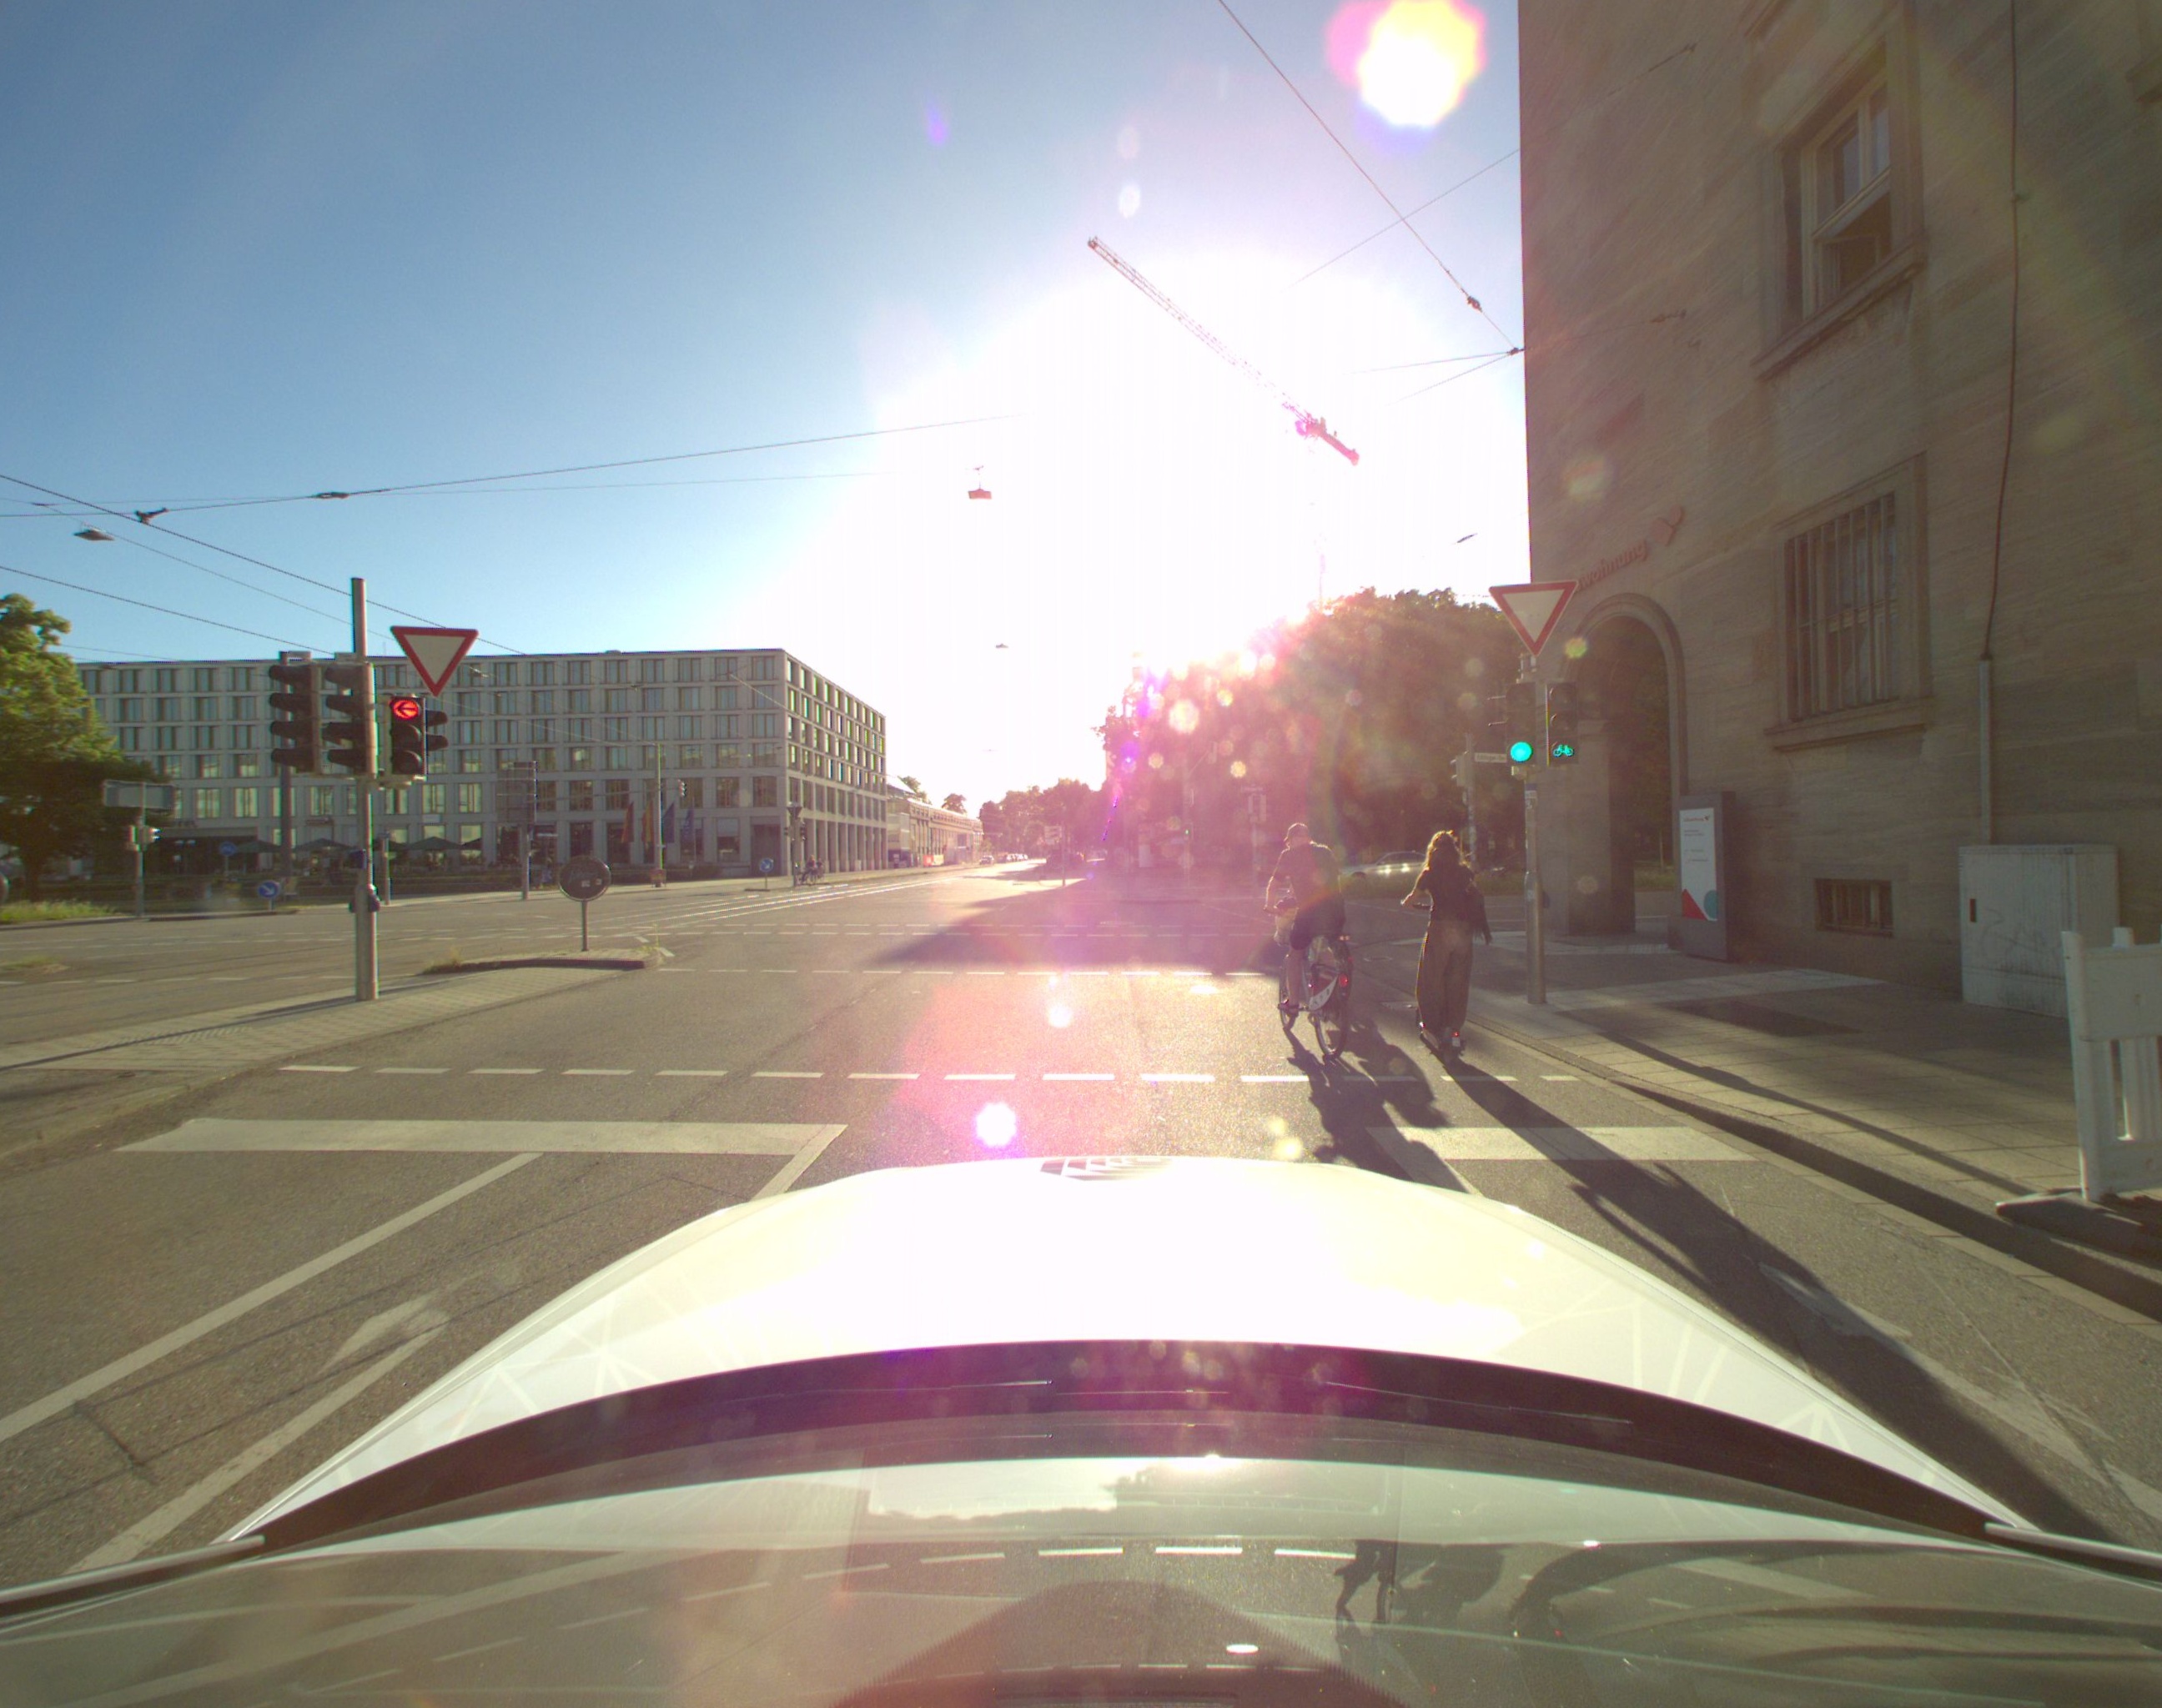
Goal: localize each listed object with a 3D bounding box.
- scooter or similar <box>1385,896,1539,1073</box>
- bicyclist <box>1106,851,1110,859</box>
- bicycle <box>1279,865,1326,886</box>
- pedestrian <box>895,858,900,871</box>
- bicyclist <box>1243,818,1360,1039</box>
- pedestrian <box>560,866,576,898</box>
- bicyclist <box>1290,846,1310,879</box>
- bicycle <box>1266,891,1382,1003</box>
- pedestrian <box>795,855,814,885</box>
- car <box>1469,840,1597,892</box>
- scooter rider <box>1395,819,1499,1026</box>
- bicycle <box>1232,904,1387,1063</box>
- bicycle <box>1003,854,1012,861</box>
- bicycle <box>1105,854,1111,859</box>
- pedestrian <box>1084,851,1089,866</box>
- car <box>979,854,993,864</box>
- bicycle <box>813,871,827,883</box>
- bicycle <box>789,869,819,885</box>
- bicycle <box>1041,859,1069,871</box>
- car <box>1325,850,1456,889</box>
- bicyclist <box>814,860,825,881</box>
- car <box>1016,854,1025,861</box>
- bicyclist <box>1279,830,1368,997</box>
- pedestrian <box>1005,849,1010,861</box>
[{"bbox_3d":[2.860,0.927,6.235,0.571,1.149,1.272,-1,-1,0],"label":"scooter or similar"},{"bbox_3d":[6.532,0.281,199.981,0.891,2.014,0.746,0,-1,-10],"label":"bicyclist"},{"bbox_3d":[9.700,0.941,35.754,1.932,0.889,0.719,-1,-1,8],"label":"bicycle"},{"bbox_3d":[-26.571,1.455,117.965,0.585,1.889,0.479,0,-1,6],"label":"pedestrian"},{"bbox_3d":[1.825,0.581,6.858,0.622,1.715,0.911,-1,0,-7],"label":"bicyclist"},{"bbox_3d":[-28.222,1.533,44.803,0.598,1.681,0.610,-2,-1,45],"label":"pedestrian"},{"bbox_3d":[9.609,0.378,35.768,0.742,1.406,0.703,0,-1,8],"label":"bicyclist"},{"bbox_3d":[2.674,0.981,9.154,0.581,1.044,1.742,-1,0,-7],"label":"bicycle"},{"bbox_3d":[-14.861,0.861,43.788,0.735,1.595,0.577,-2,-1,35],"label":"pedestrian"},{"bbox_3d":[17.872,0.477,32.329,3.970,2.014,2.001,0,-1,3],"label":"car"},{"bbox_3d":[2.902,0.524,6.499,0.543,1.562,0.577,-1,-1,0],"label":"scooter rider"},{"bbox_3d":[1.846,1.001,6.857,0.622,1.044,1.743,-1,0,-7],"label":"bicycle"},{"bbox_3d":[-12.467,0.578,138.150,0.746,1.205,3.114,0,-1,7],"label":"bicycle"},{"bbox_3d":[6.549,0.668,199.898,0.890,1.219,2.784,0,-1,-9],"label":"bicycle"},{"bbox_3d":[0.651,0.520,97.160,0.576,1.689,0.584,-2,0,-6],"label":"pedestrian"},{"bbox_3d":[-15.830,0.775,135.697,1.988,1.599,3.998,-2,0,-1],"label":"car"},{"bbox_3d":[-18.907,1.642,59.030,0.492,0.839,1.158,-2,0,4],"label":"bicycle"},{"bbox_3d":[-14.905,1.253,43.825,1.696,0.823,0.577,-2,0,35],"label":"bicycle"},{"bbox_3d":[-2.123,0.895,66.896,2.240,0.940,0.653,-2,0,-4],"label":"bicycle"},{"bbox_3d":[12.425,0.616,32.886,4.559,1.516,2.001,0,-1,1],"label":"car"},{"bbox_3d":[-18.927,1.191,59.022,0.492,1.498,0.667,-2,0,4],"label":"bicyclist"},{"bbox_3d":[-14.478,0.844,194.790,1.988,1.644,3.998,-1,0,-1],"label":"car"},{"bbox_3d":[2.675,0.629,9.080,0.583,1.738,0.948,-1,0,-7],"label":"bicyclist"},{"bbox_3d":[-12.466,0.172,138.222,0.746,2.063,1.052,0,-1,7],"label":"pedestrian"}]
